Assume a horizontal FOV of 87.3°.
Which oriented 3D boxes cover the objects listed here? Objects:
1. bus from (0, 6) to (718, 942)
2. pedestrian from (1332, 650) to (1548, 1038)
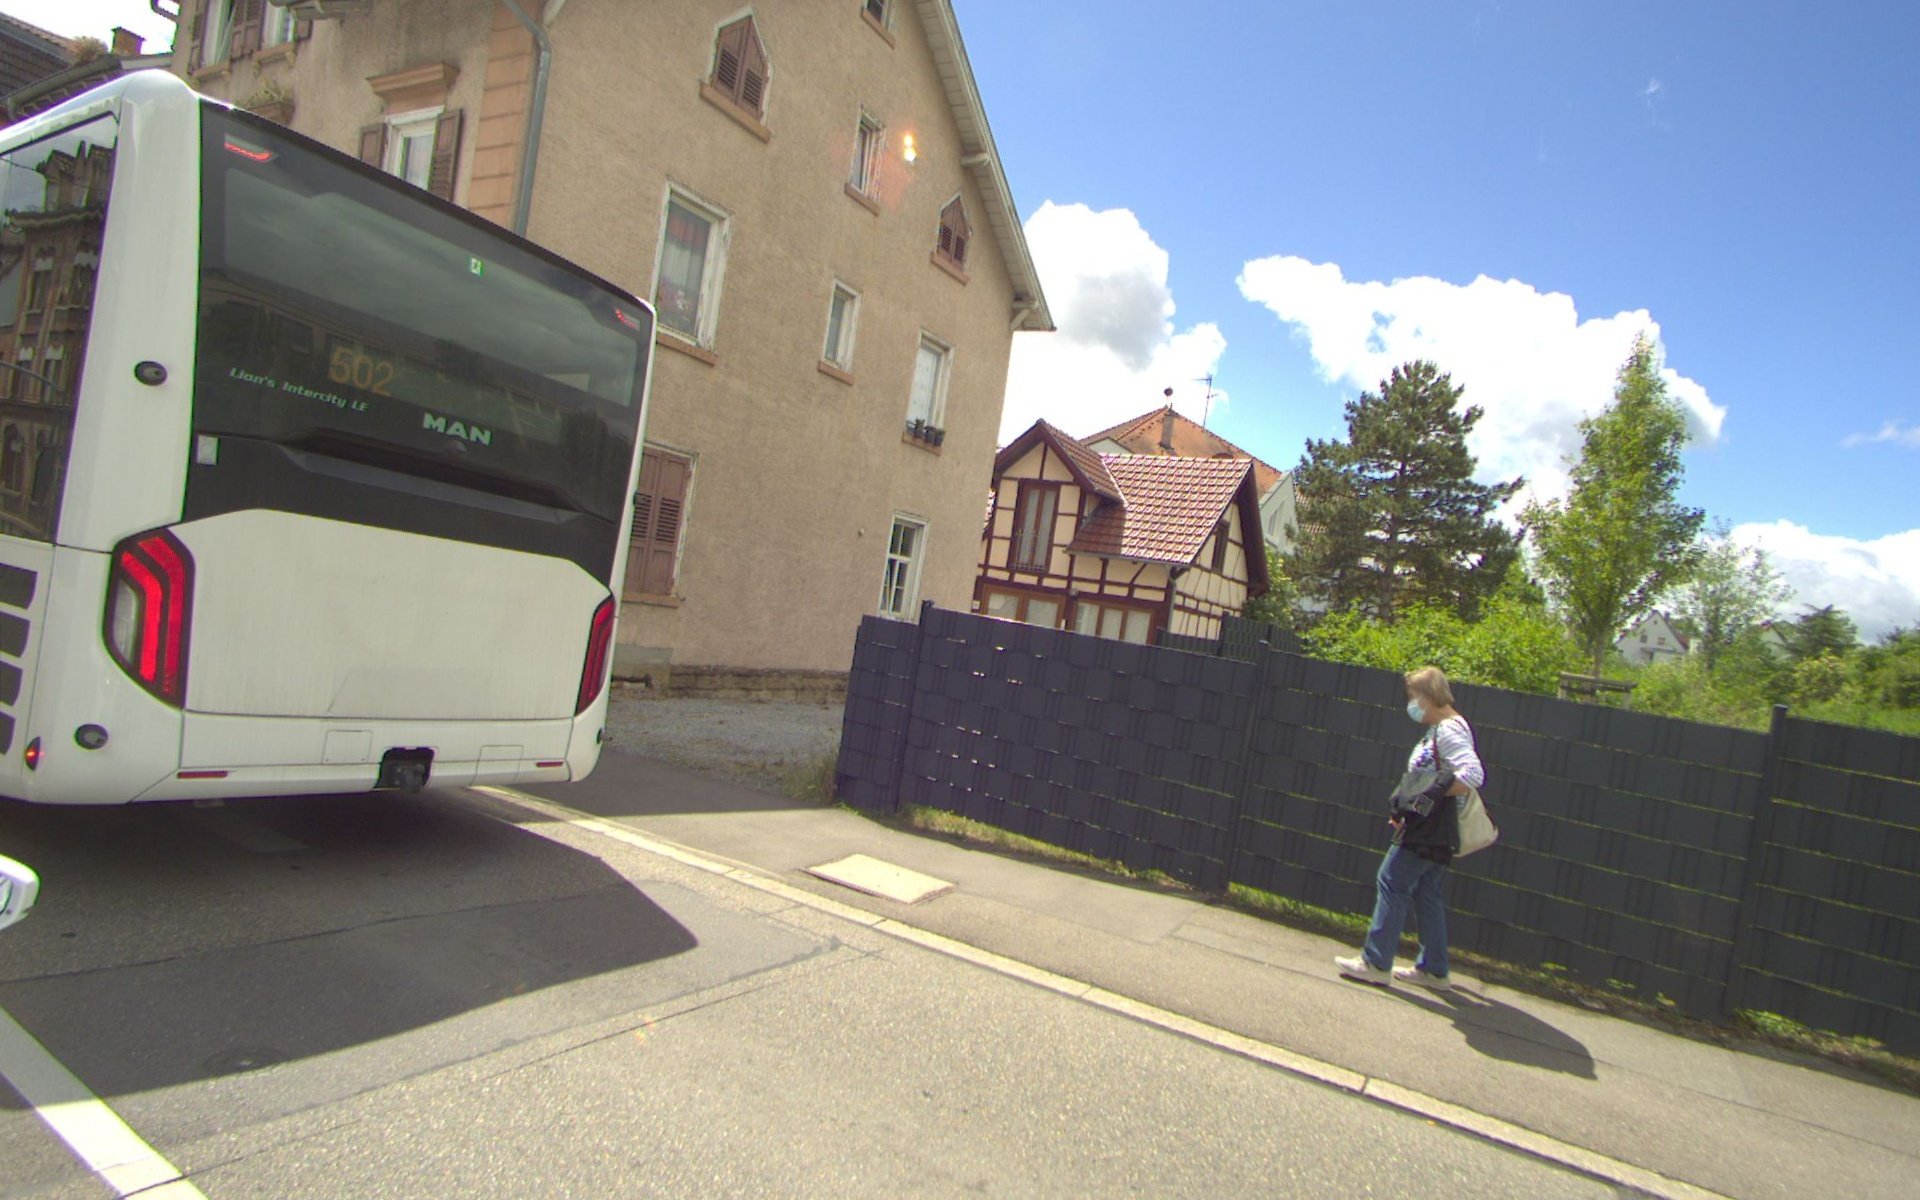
[{"bbox_3d":[-7.425,-0.915,7.787,12.255,3.192,2.678,7,-1,32],"label":"bus"},{"bbox_3d":[2.328,1.080,4.838,0.700,1.581,0.860,7,1,31],"label":"pedestrian"}]
